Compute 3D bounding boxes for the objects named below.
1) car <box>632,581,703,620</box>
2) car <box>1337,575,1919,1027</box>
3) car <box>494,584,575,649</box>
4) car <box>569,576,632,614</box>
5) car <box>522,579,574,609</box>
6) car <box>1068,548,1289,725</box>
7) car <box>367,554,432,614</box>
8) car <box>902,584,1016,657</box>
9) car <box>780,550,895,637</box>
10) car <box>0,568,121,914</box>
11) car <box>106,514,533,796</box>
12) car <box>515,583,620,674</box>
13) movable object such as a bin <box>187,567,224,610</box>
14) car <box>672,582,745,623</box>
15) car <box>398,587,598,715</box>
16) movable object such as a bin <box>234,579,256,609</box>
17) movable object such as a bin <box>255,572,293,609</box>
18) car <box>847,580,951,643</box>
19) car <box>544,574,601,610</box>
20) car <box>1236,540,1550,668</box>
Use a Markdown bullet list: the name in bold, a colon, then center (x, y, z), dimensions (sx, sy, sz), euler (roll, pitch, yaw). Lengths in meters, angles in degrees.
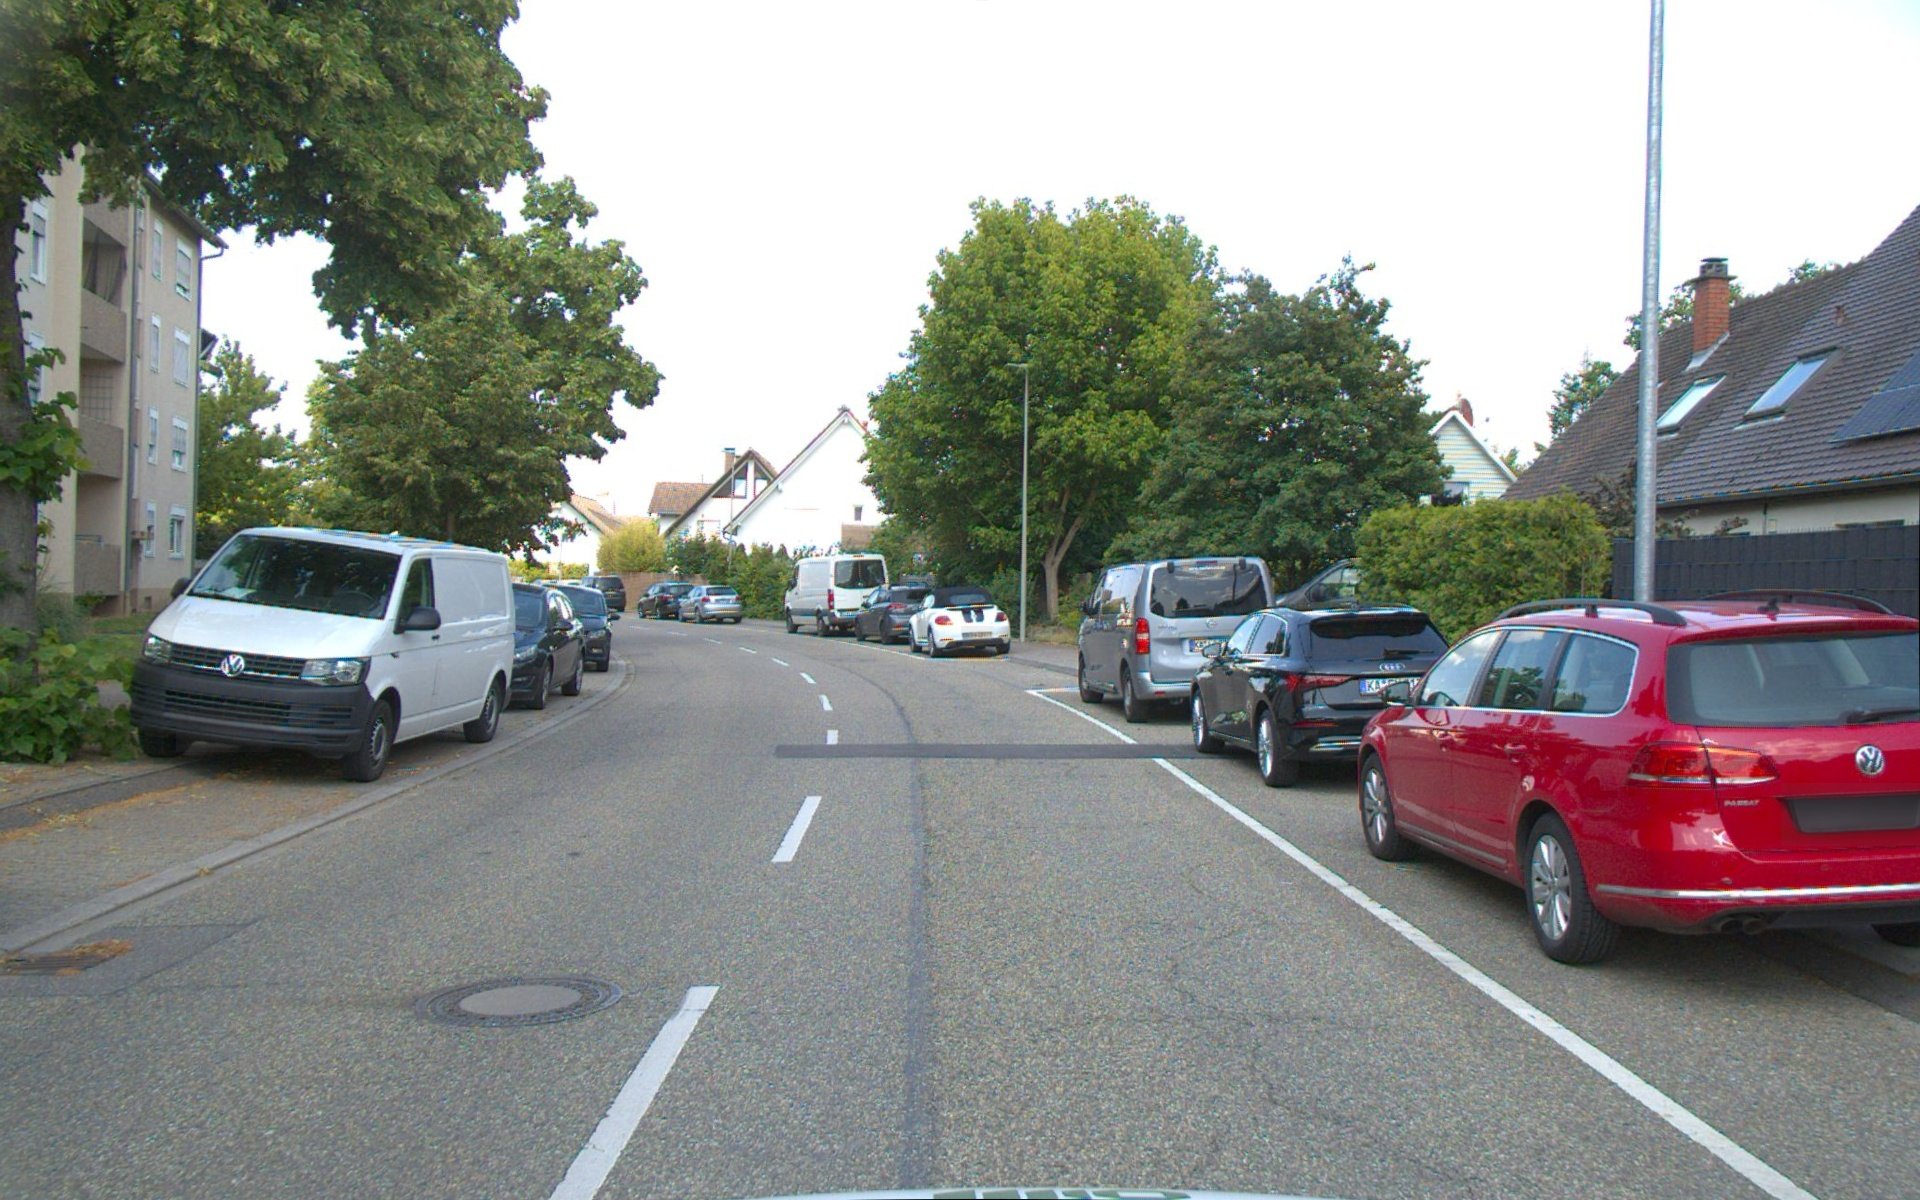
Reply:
- **car**: center (-12.276, -0.004, 69.190), dimensions (1.716, 1.535, 4.437), euler (1, 0, -26)
- **car**: center (3.399, 0.708, 8.296), dimensions (1.812, 1.607, 4.731), euler (1, 0, -2)
- **car**: center (-10.676, 0.391, 41.671), dimensions (1.806, 1.464, 4.077), euler (3, 0, -14)
- **car**: center (-17.352, -0.260, 79.681), dimensions (1.775, 1.779, 4.540), euler (1, 0, -29)
- **car**: center (-22.259, -0.351, 89.320), dimensions (1.775, 1.550, 3.935), euler (1, 0, -29)
- **car**: center (2.663, 0.389, 21.349), dimensions (1.806, 1.978, 4.871), euler (-2, 1, -5)
- **car**: center (-26.336, -0.758, 77.557), dimensions (2.038, 2.544, 5.793), euler (5, -1, -26)
- **car**: center (-0.098, 0.425, 37.723), dimensions (1.709, 1.539, 4.445), euler (1, 0, -12)
- **car**: center (-3.837, -0.226, 50.735), dimensions (2.085, 2.483, 5.862), euler (1, 0, -19)
- **car**: center (-5.156, 0.632, 6.783), dimensions (1.488, 1.576, 3.754), euler (6, 1, -2)
- **car**: center (-5.475, 0.381, 15.027), dimensions (1.841, 2.044, 5.321), euler (2, 1, -1)
- **car**: center (-7.333, 0.485, 31.019), dimensions (1.730, 1.515, 4.019), euler (3, 0, -13)
- **movable object such as a bin**: center (-27.373, -0.432, 60.001), dimensions (1.182, 1.462, 1.360), euler (-1, 4, -27)
- **car**: center (-9.797, 0.077, 64.209), dimensions (1.715, 1.483, 4.332), euler (1, 0, -24)
- **car**: center (-6.064, 0.598, 22.226), dimensions (1.726, 1.515, 4.500), euler (1, 0, -5)
- **movable object such as a bin**: center (-26.348, -0.238, 60.952), dimensions (0.614, 1.042, 0.875), euler (0, 4, -15)
- **movable object such as a bin**: center (-25.395, -0.367, 61.230), dimensions (1.173, 1.296, 0.875), euler (0, 4, -16)
- **car**: center (-1.703, 0.272, 44.702), dimensions (1.691, 1.613, 4.102), euler (1, 0, -19)
- **car**: center (-20.001, -0.418, 85.321), dimensions (1.776, 1.779, 3.933), euler (1, 0, -30)
- **car**: center (7.645, 0.049, 29.563), dimensions (5.226, 2.093, 2.002), euler (1, 0, 13)
